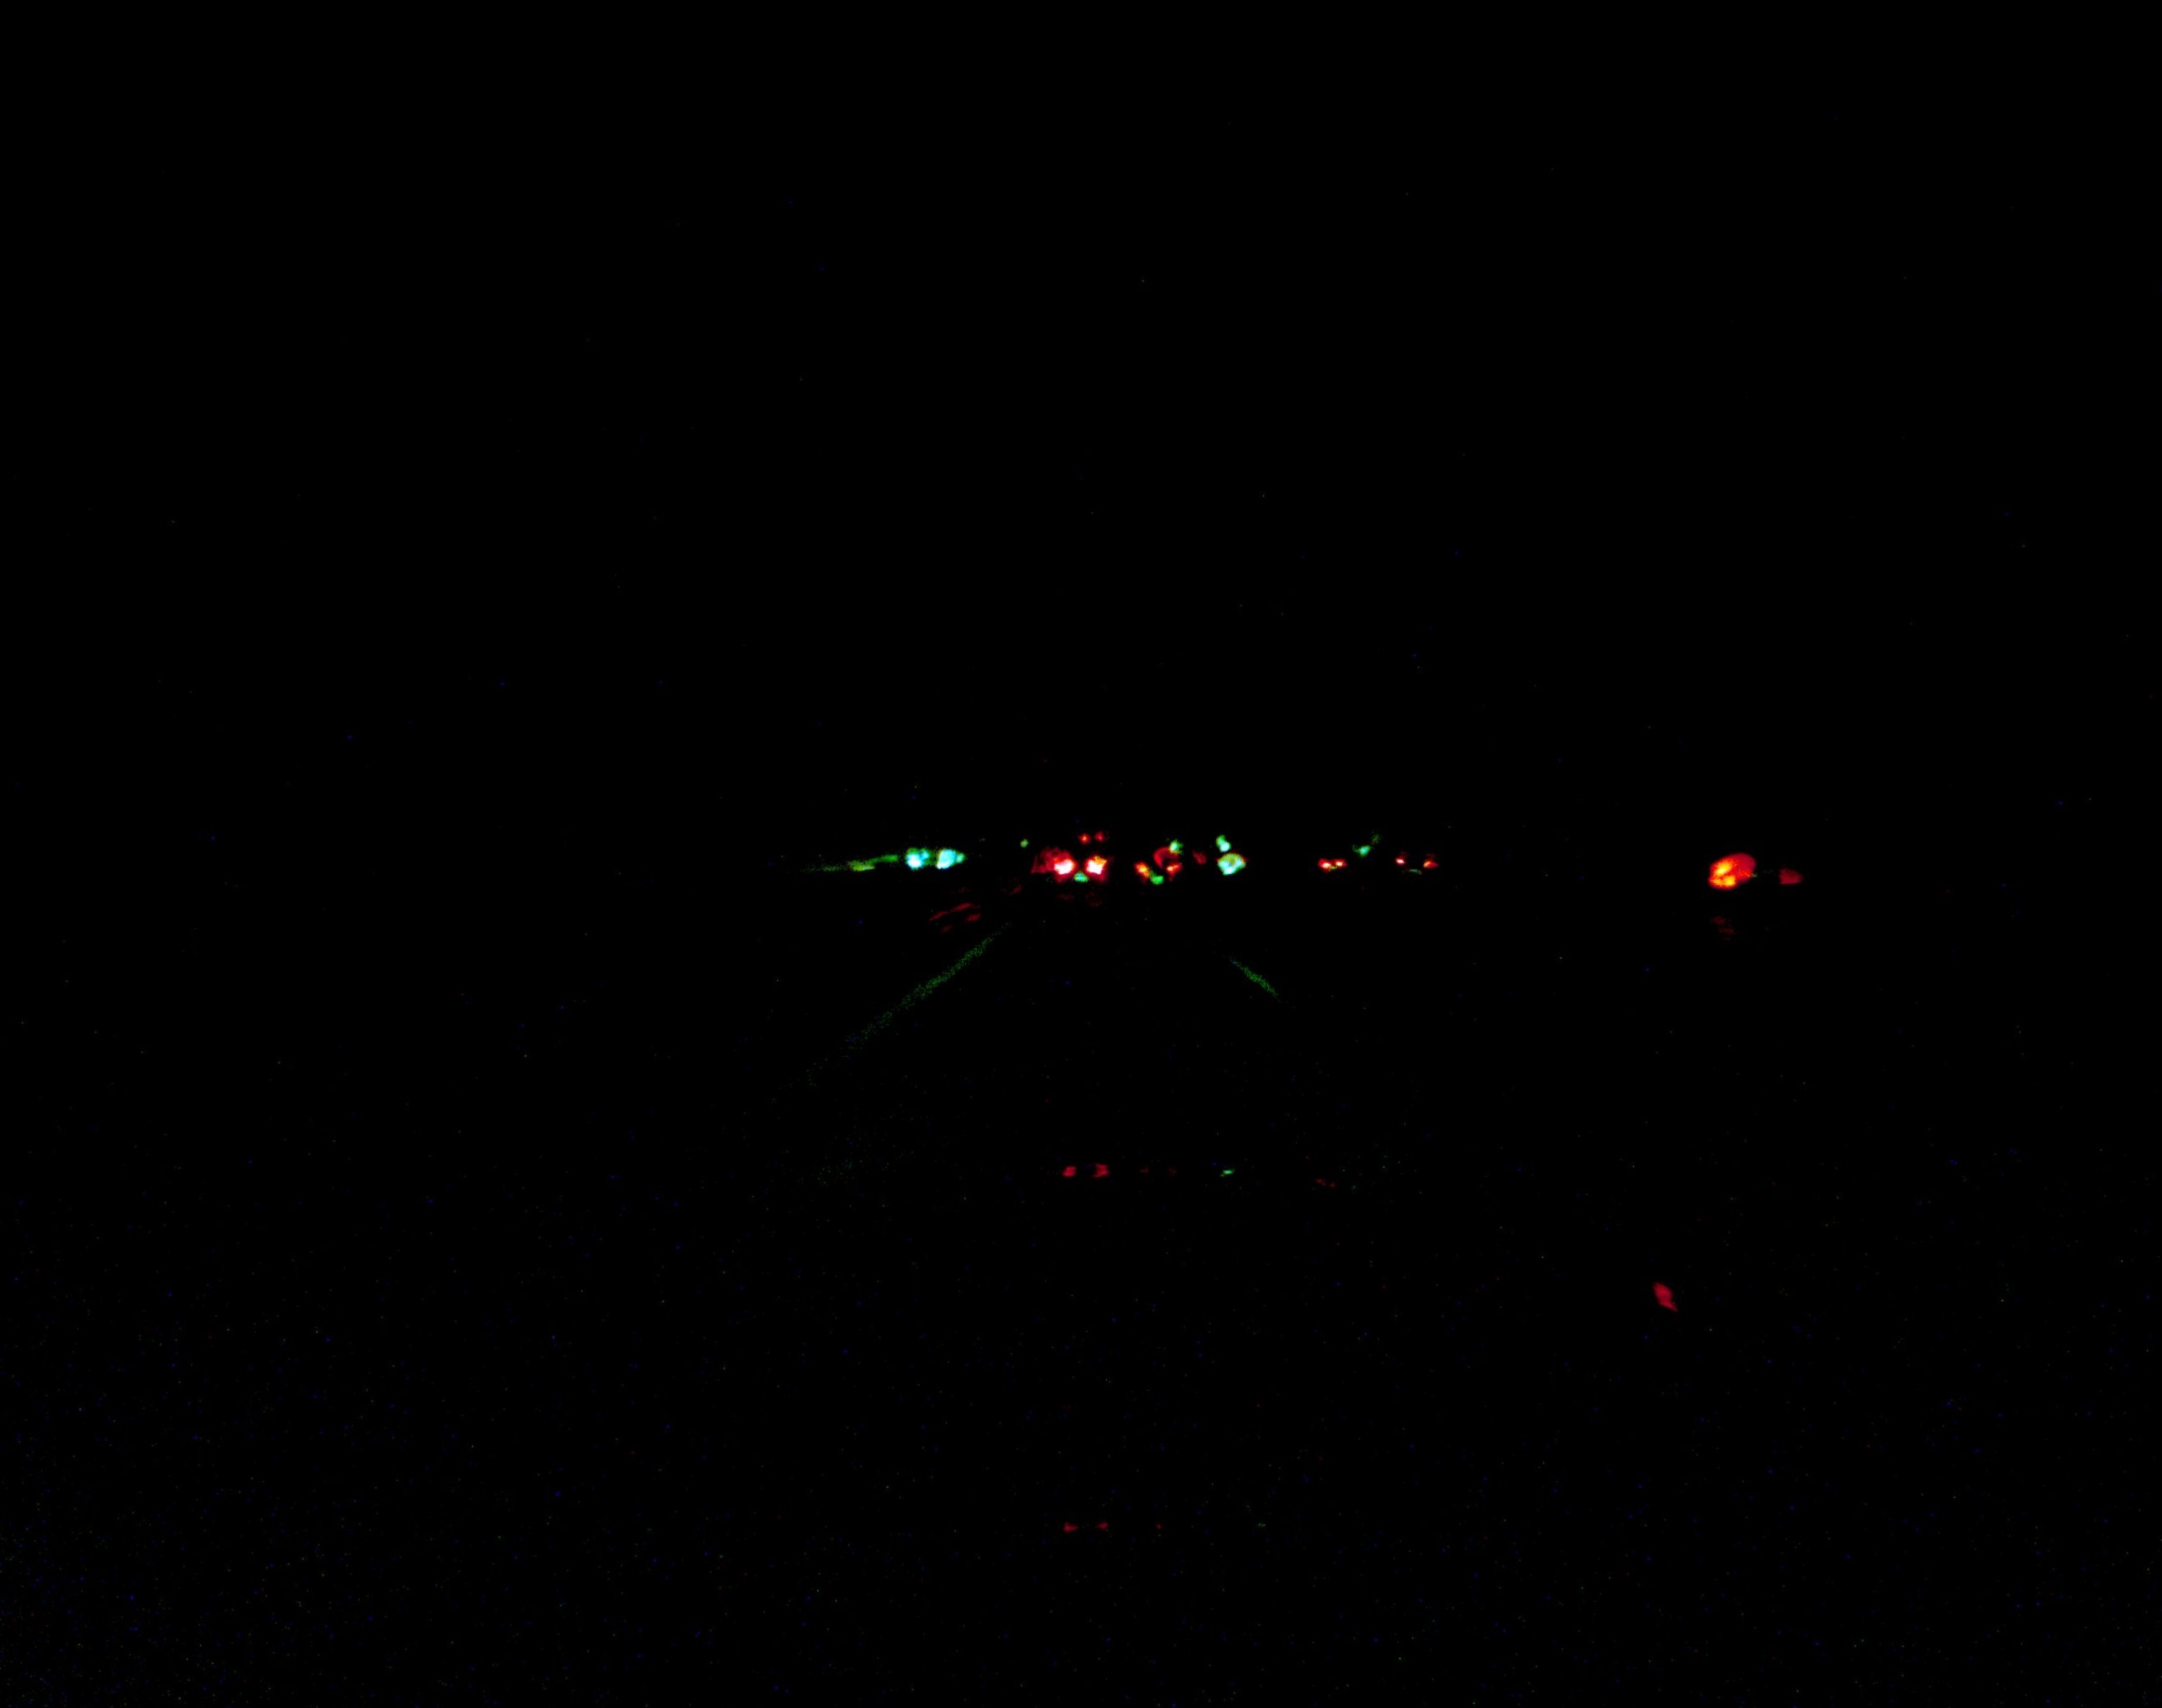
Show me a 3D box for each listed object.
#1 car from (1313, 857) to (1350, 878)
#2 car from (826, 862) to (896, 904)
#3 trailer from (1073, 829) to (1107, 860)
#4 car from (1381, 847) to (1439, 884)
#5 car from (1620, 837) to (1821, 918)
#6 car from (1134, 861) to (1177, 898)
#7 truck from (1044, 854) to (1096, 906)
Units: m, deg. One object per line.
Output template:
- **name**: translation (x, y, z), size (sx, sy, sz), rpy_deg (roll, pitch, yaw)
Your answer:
- **car**: translation (21.210, 1.117, 69.113), size (1.986, 1.600, 4.002), rpy_deg (2, 0, 2)
- **car**: translation (-10.289, 1.319, 38.400), size (1.986, 1.735, 4.003), rpy_deg (2, 0, 2)
- **trailer**: translation (1.186, -1.478, 117.627), size (2.738, 4.247, 13.331), rpy_deg (-1, 1, -9)
- **car**: translation (19.076, 0.626, 47.434), size (2.220, 2.013, 4.009), rpy_deg (0, 1, 8)
- **car**: translation (17.929, 0.559, 23.263), size (2.051, 2.013, 5.461), rpy_deg (0, 1, 8)
- **car**: translation (3.600, 1.215, 39.947), size (1.794, 1.617, 4.259), rpy_deg (-2, 0, 2)
- **truck**: translation (-0.514, 1.079, 37.390), size (2.139, 2.077, 6.600), rpy_deg (2, 0, -1)
